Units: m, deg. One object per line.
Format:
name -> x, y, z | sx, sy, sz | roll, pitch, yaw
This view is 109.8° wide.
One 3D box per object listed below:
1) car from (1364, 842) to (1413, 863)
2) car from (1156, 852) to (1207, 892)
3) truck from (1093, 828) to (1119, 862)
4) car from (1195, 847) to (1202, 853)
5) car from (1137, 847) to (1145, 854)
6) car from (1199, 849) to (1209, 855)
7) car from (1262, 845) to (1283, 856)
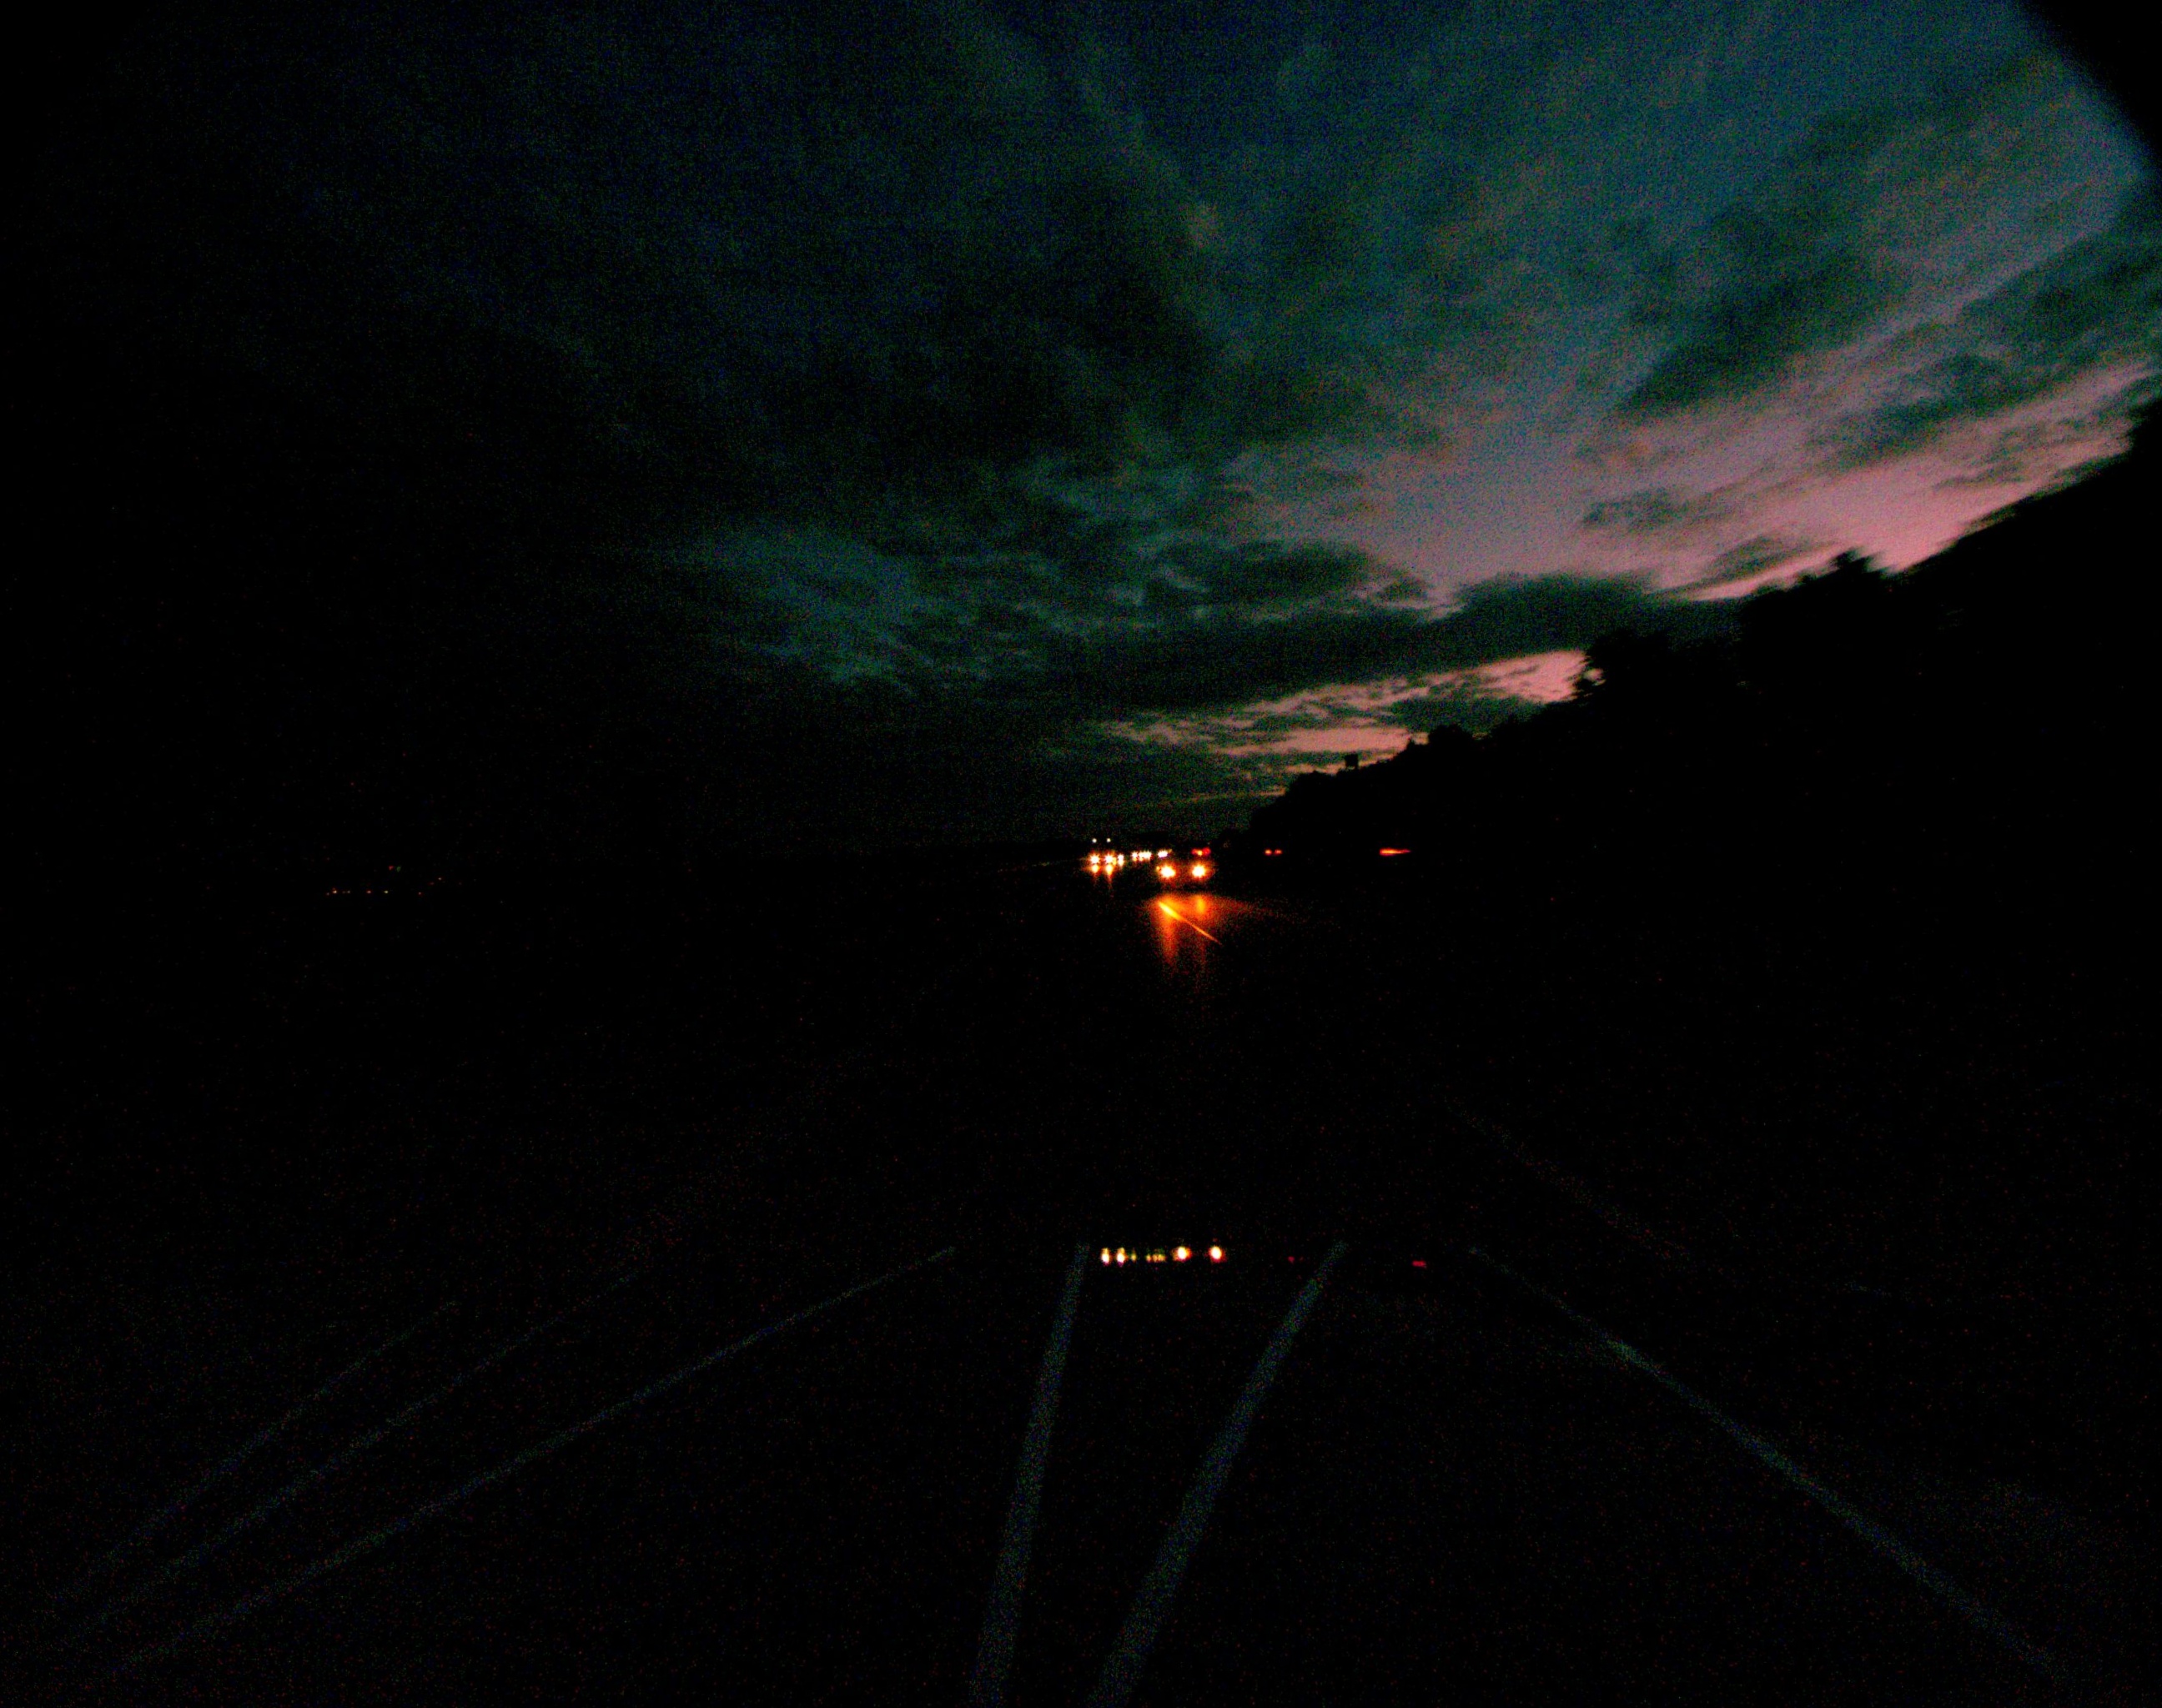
car -> 25.048, -0.151, 62.070 | 1.998, 1.525, 5.006 | -3, 1, 2
car -> 4.134, 0.697, 31.764 | 1.717, 1.471, 4.000 | -3, 1, 3
truck -> 3.378, -1.220, 106.134 | 3.027, 4.372, 11.614 | -3, 1, 0
car -> 38.026, -1.218, 246.003 | 1.998, 1.780, 4.841 | -3, 1, 4
car -> 14.553, -0.778, 184.096 | 1.652, 1.654, 3.777 | -3, 1, 8
car -> 28.220, -0.501, 173.980 | 1.838, 1.328, 4.911 | -3, 1, 6
car -> 27.161, -0.525, 107.753 | 1.998, 1.496, 4.506 | -3, 1, 2
